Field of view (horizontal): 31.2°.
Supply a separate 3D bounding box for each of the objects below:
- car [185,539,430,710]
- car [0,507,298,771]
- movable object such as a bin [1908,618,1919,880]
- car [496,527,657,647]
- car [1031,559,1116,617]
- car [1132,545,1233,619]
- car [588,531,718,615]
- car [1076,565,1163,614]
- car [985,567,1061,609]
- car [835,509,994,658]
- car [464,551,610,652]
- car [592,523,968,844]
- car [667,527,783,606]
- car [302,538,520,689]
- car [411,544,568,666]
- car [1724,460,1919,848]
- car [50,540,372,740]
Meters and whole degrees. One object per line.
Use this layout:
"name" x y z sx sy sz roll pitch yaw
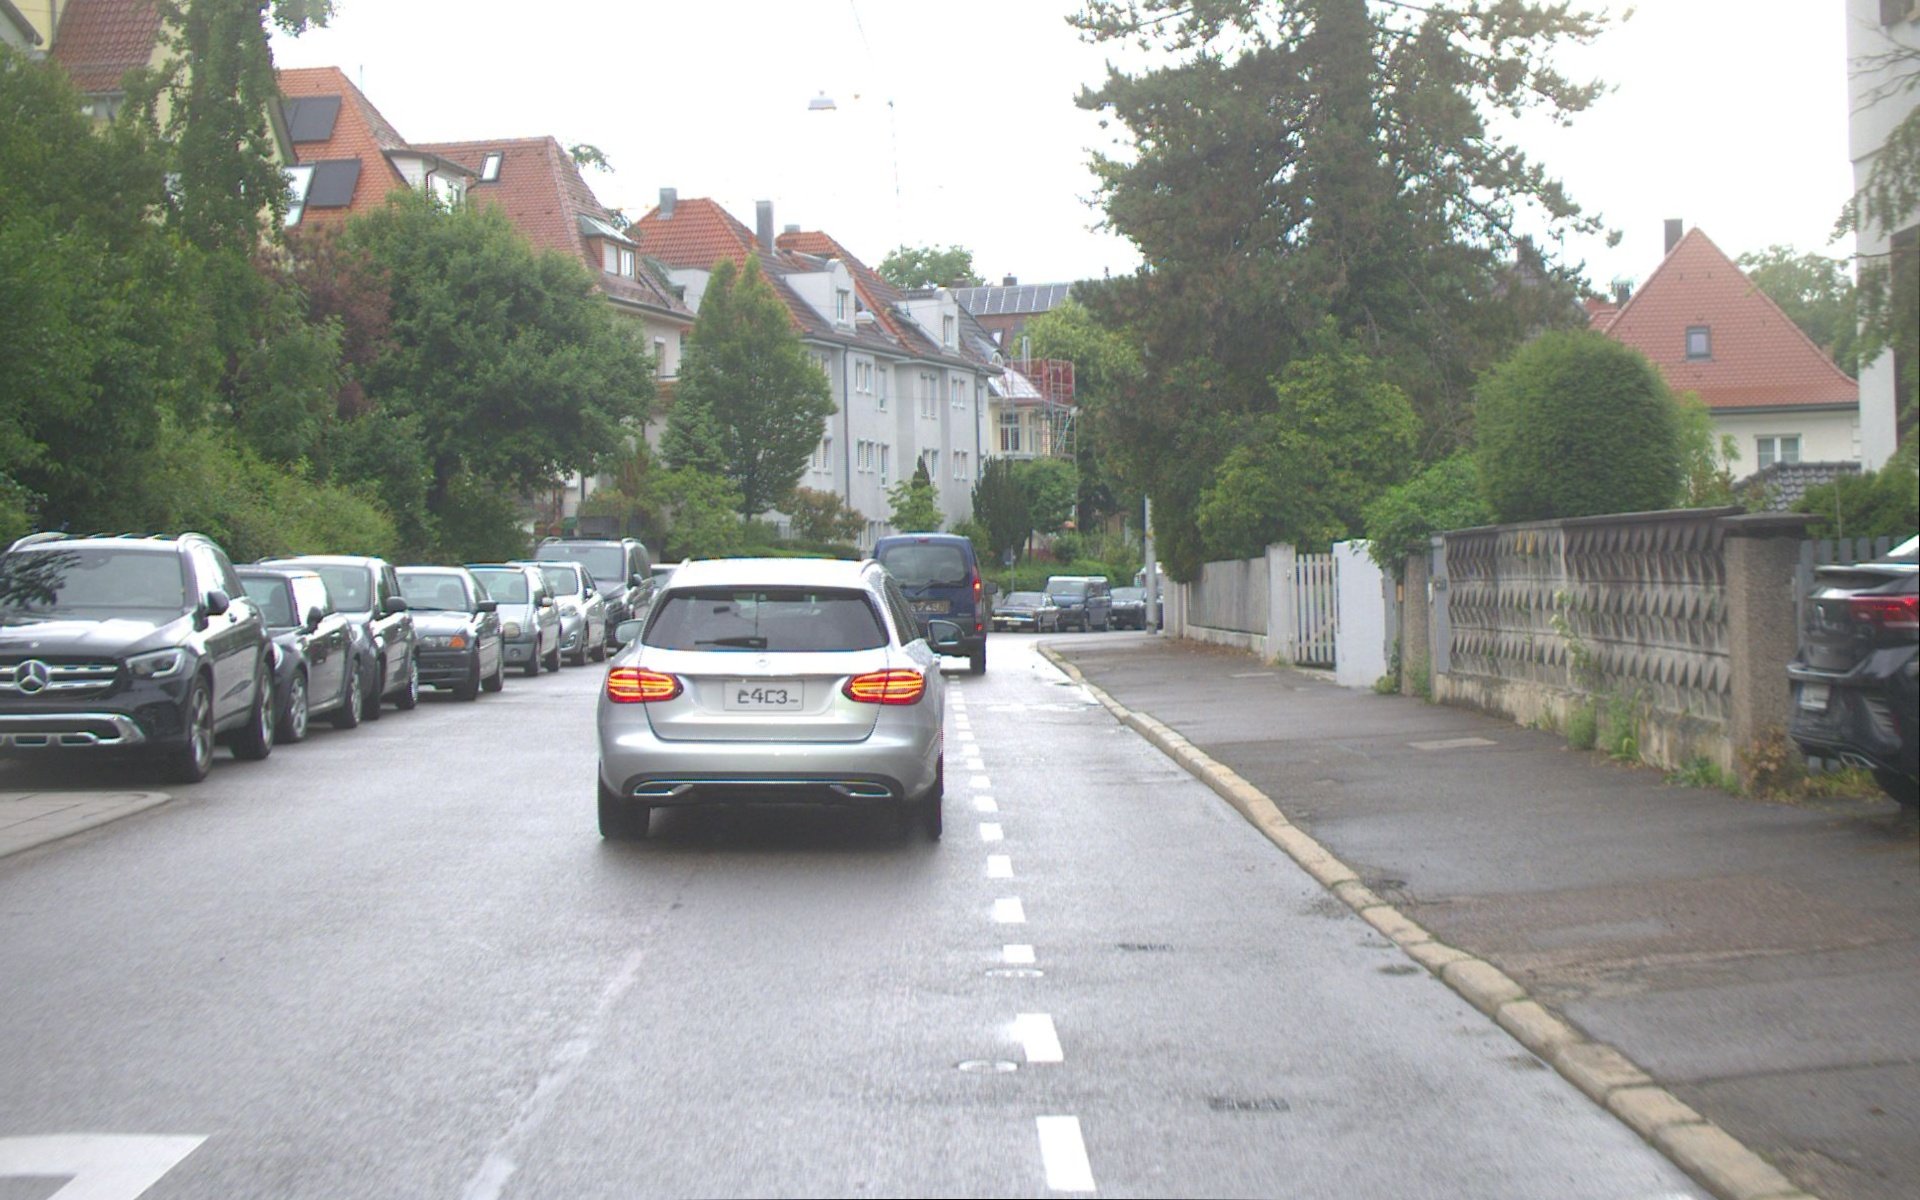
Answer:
"car" -6.182 0.184 32.941 1.696 1.536 3.814 0 1 -1
"car" -5.802 0.200 23.238 1.893 1.617 4.379 0 1 -1
"movable object such as a bin" 3.762 0.554 12.447 0.494 0.952 0.503 0 2 -2
"car" -6.300 -0.244 56.972 1.993 1.872 5.356 1 1 1
"car" 4.152 -0.422 125.124 1.831 2.049 5.005 1 0 17
"car" 9.043 -0.774 139.077 2.393 2.762 6.525 1 2 20
"car" -6.191 -0.557 69.818 1.994 1.575 4.761 2 1 2
"car" 6.146 -0.430 131.928 1.995 1.682 4.672 1 3 20
"car" 2.230 -0.438 120.348 1.644 1.412 4.610 0 1 14
"car" -0.565 -0.218 46.161 1.843 1.897 3.999 0 0 4
"car" -6.232 -0.001 50.964 1.694 1.442 3.814 0 1 0
"car" -0.980 0.374 18.706 1.816 1.551 4.001 0 1 -3
"car" -5.436 -0.790 80.090 1.994 1.696 4.738 2 1 4
"car" -5.939 0.099 37.650 1.756 1.442 4.417 0 3 -1
"car" -6.191 0.039 45.568 1.646 1.442 3.628 0 3 -1
"car" 5.669 0.185 15.526 3.987 1.634 1.919 0 2 -1
"car" -6.123 0.278 28.523 1.893 1.442 3.814 0 3 -1
